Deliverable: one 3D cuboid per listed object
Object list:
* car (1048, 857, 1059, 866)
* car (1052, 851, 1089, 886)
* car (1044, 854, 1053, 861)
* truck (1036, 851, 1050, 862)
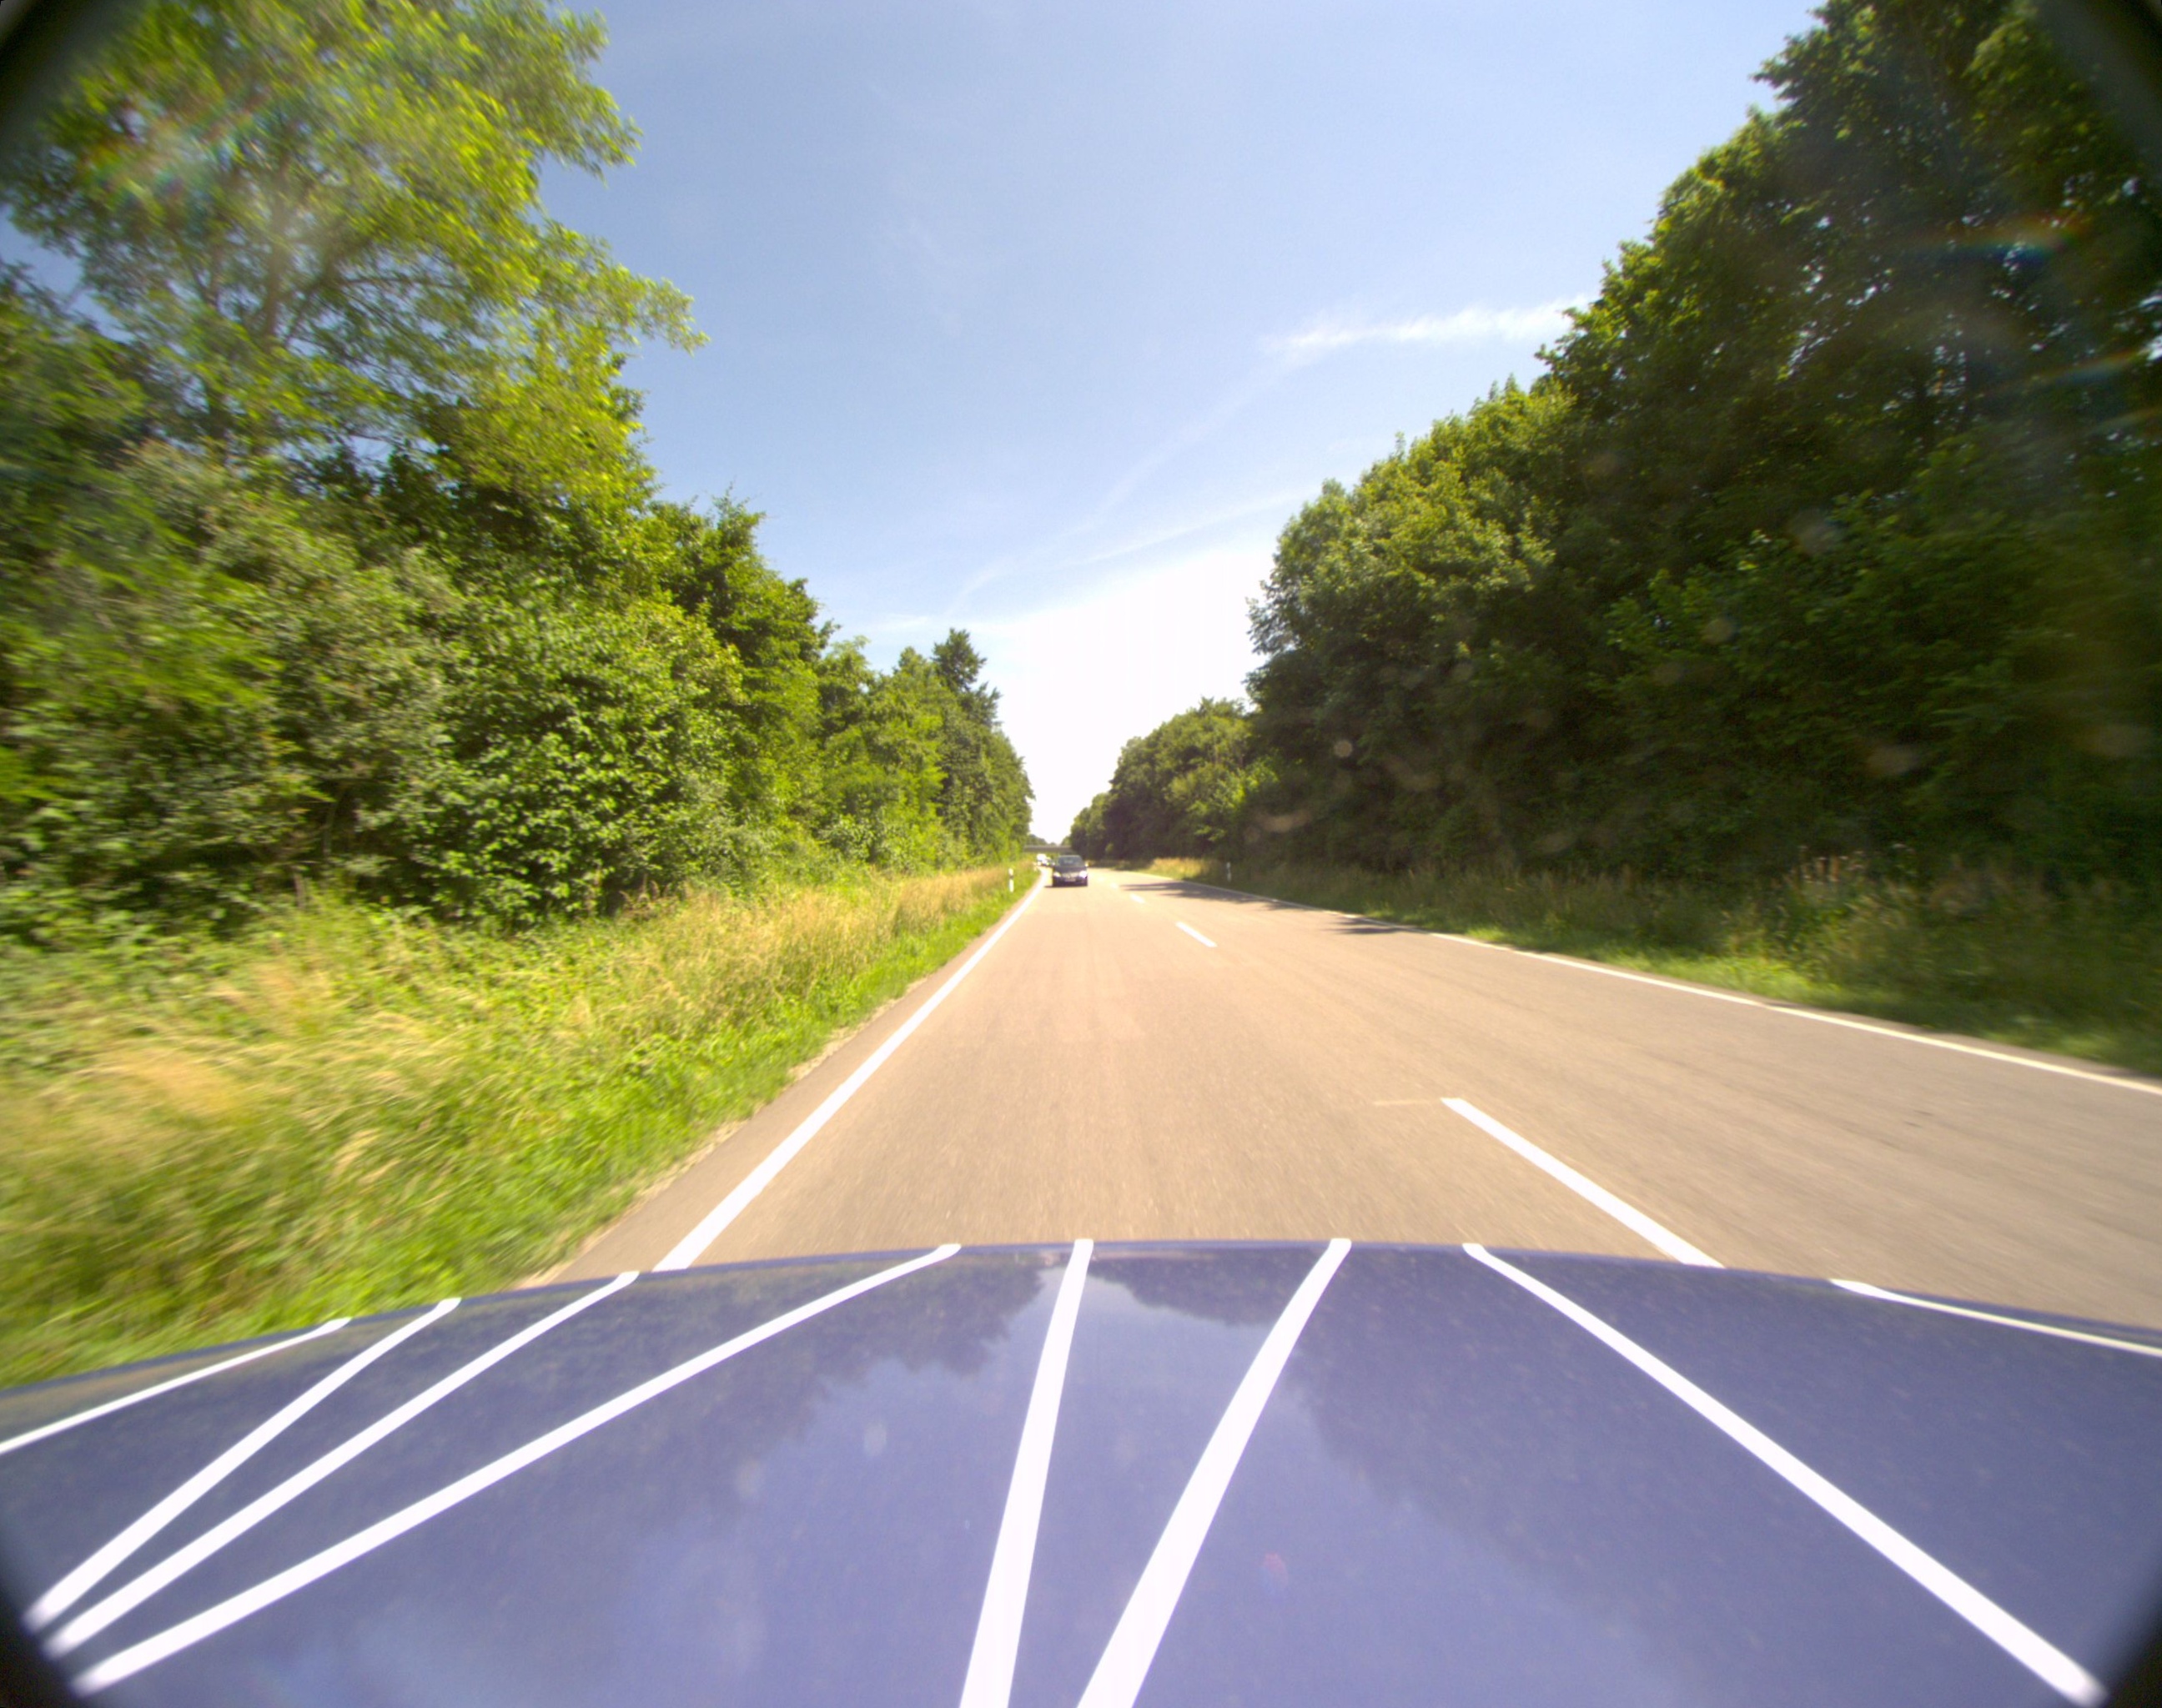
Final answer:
[{"bbox_3d":[-4.844,1.282,132.186,1.710,1.524,4.777,-2,0,-3],"label":"car"},{"bbox_3d":[-0.552,0.737,39.406,1.784,1.675,4.779,0,-1,-1],"label":"car"},{"bbox_3d":[-7.098,0.733,165.892,1.710,1.524,4.777,-2,0,-3],"label":"car"},{"bbox_3d":[-11.957,0.756,236.956,2.580,3.111,11.187,-3,0,-13],"label":"truck"}]
